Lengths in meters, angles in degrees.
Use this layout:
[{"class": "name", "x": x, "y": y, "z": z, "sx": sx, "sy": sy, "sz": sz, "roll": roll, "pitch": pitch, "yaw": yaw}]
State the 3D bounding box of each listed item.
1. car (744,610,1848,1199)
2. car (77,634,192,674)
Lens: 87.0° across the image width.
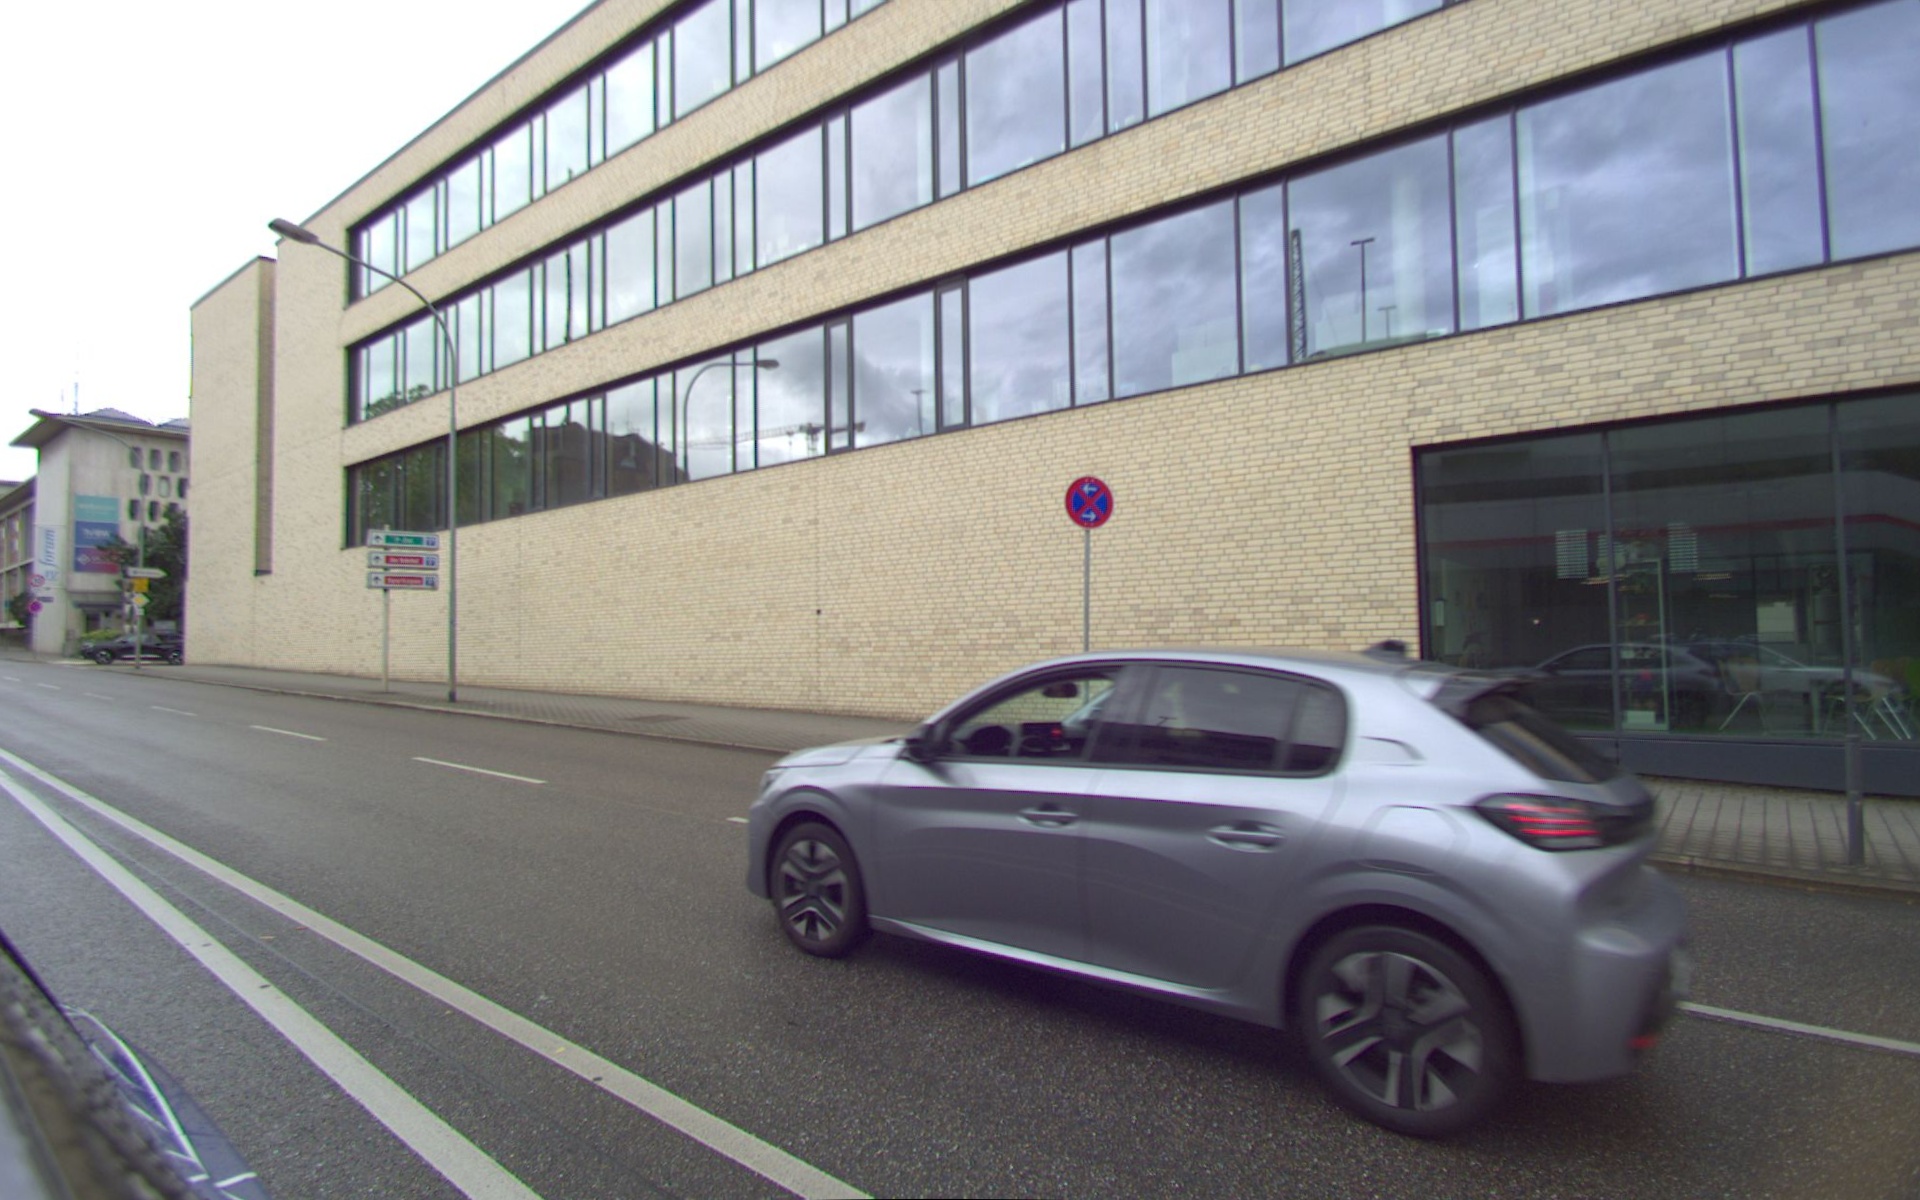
[{"class": "car", "x": 1.038, "y": 0.842, "z": 4.204, "sx": 3.878, "sy": 1.481, "sz": 1.724, "roll": -1, "pitch": -4, "yaw": 39}, {"class": "car", "x": -37.900, "y": 2.452, "z": 46.592, "sx": 3.933, "sy": 1.674, "sz": 1.866, "roll": 0, "pitch": -1, "yaw": -34}]
